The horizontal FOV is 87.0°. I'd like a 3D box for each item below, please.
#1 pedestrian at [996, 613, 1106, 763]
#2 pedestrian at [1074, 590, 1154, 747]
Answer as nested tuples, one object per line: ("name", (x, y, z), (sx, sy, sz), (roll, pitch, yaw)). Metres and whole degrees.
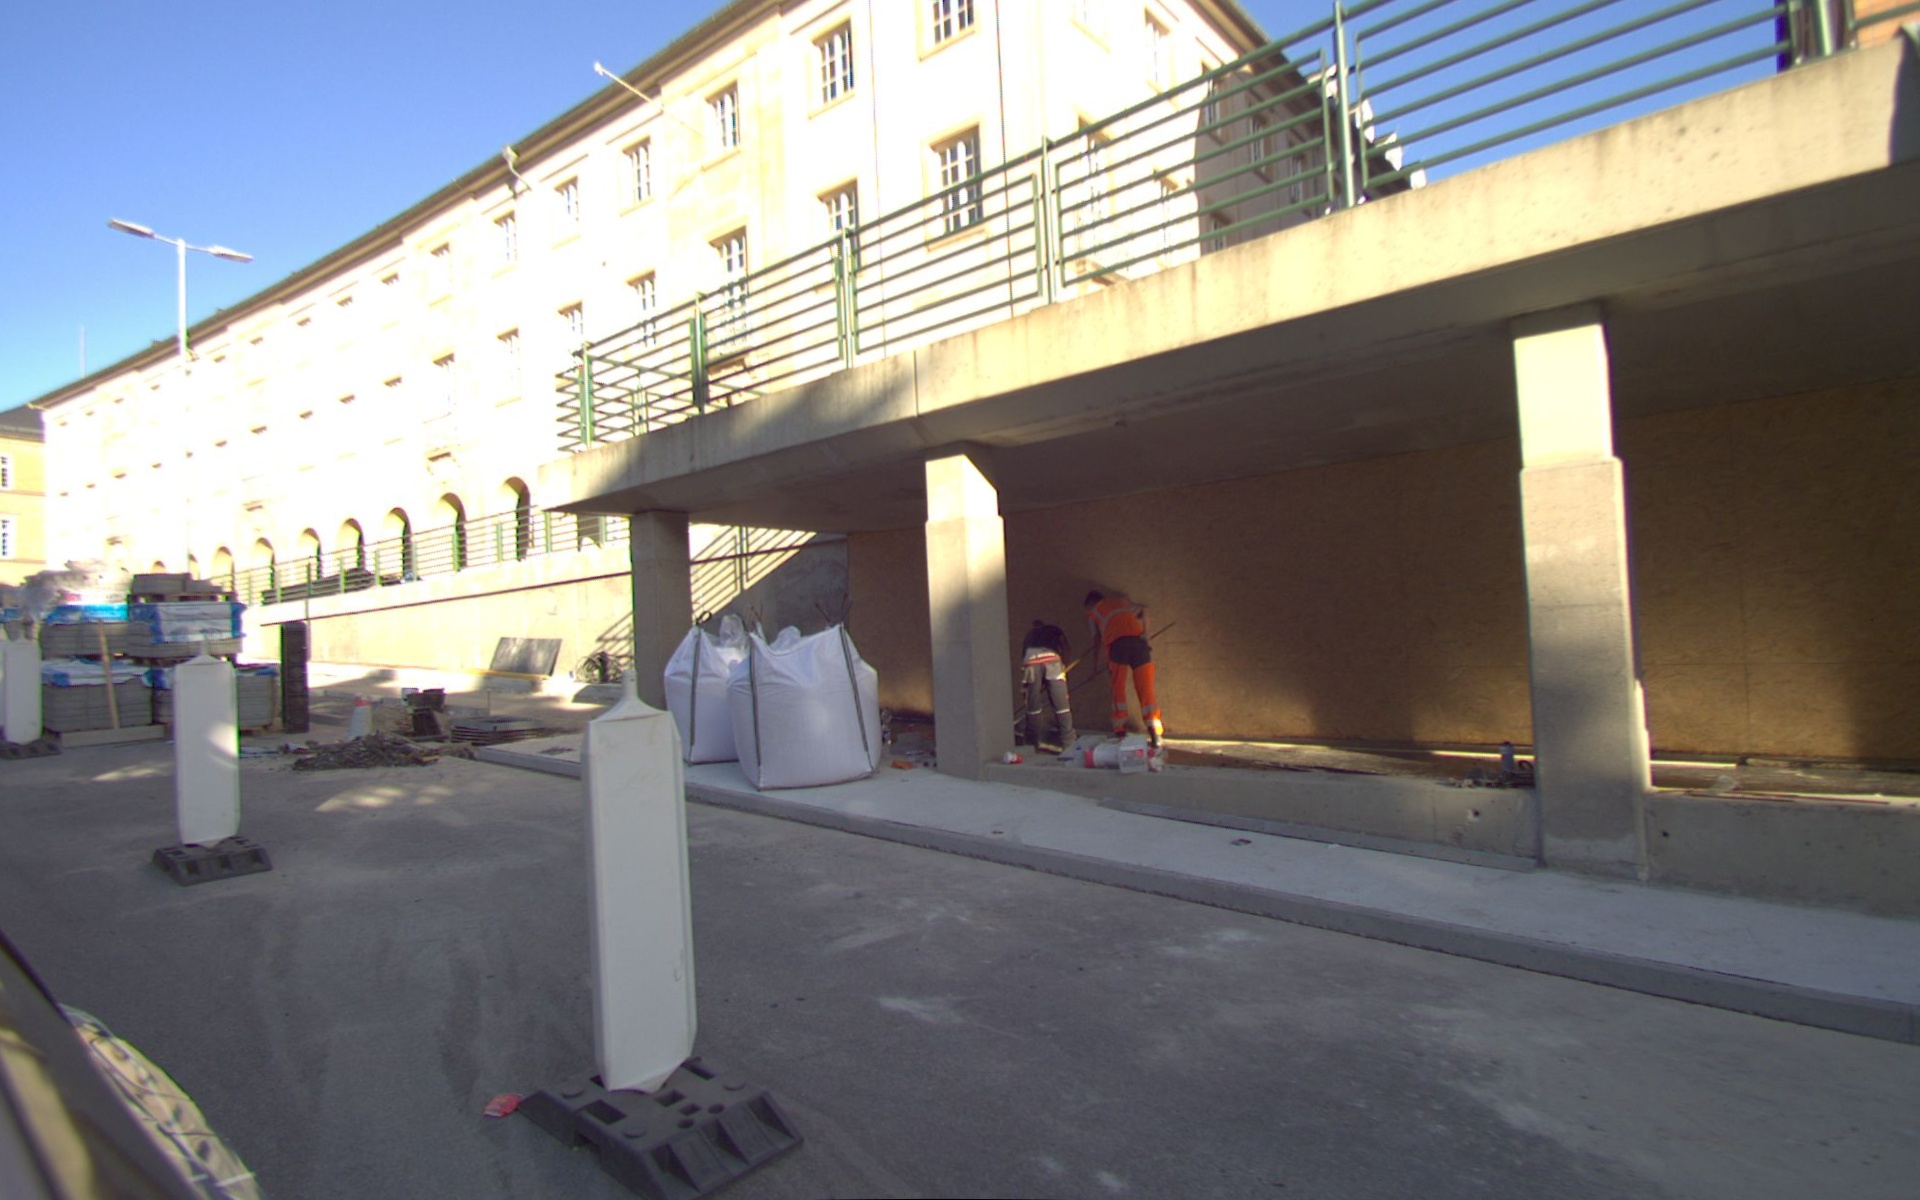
("pedestrian", (0.919, 0.837, 10.115), (0.781, 1.409, 0.864), (-1, -1, 32))
("pedestrian", (1.642, 0.701, 10.748), (0.629, 1.591, 0.644), (-1, -1, 32))
